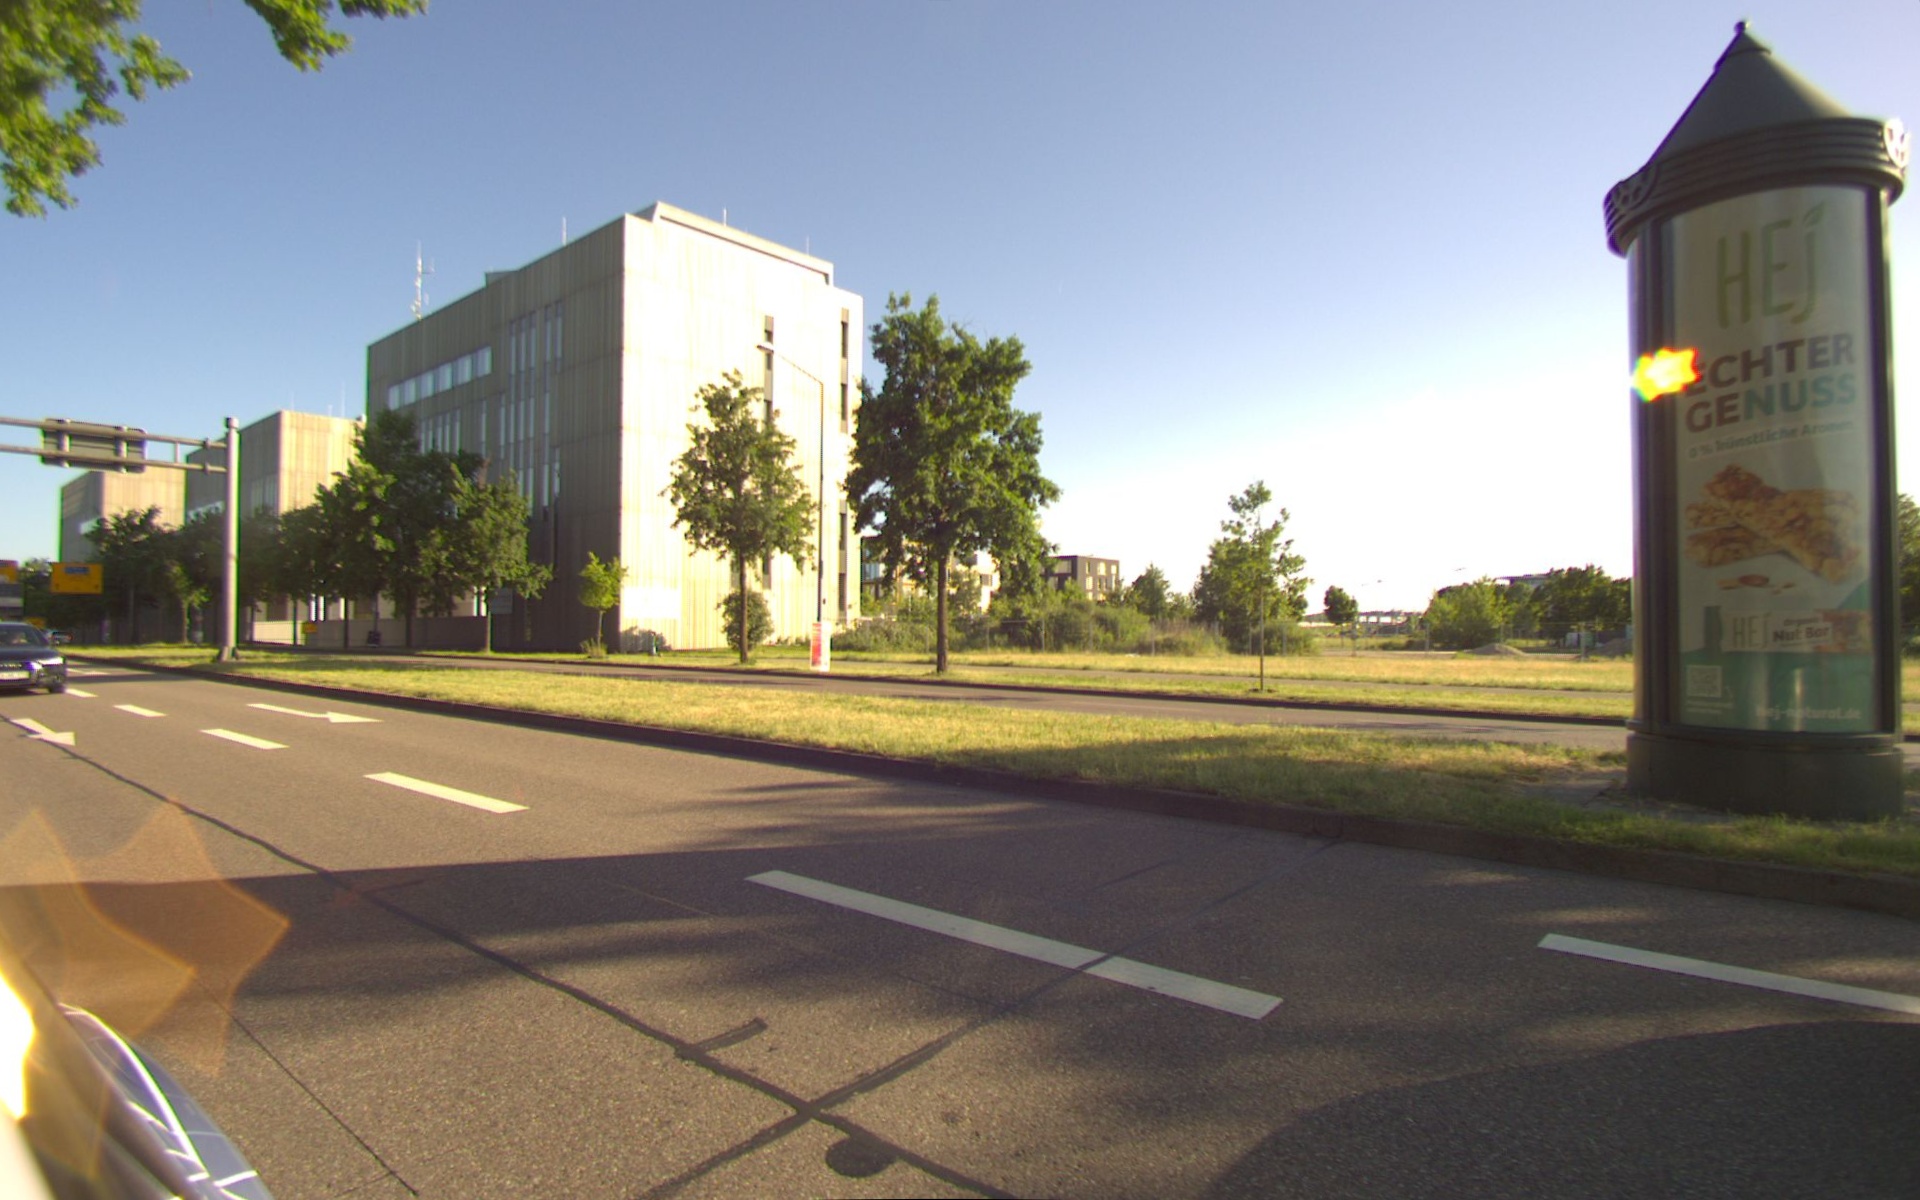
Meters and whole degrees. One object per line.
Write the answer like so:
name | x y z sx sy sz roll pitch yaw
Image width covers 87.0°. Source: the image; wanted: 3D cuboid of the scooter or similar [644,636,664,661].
scooter or similar | -14.033 2.225 46.397 0.446 1.119 1.409 2 -2 -35

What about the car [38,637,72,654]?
car | -87.791 4.369 98.137 3.998 1.590 1.973 -2 -3 41

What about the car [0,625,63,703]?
car | -19.770 1.252 20.501 5.015 1.454 1.774 -2 -2 41
